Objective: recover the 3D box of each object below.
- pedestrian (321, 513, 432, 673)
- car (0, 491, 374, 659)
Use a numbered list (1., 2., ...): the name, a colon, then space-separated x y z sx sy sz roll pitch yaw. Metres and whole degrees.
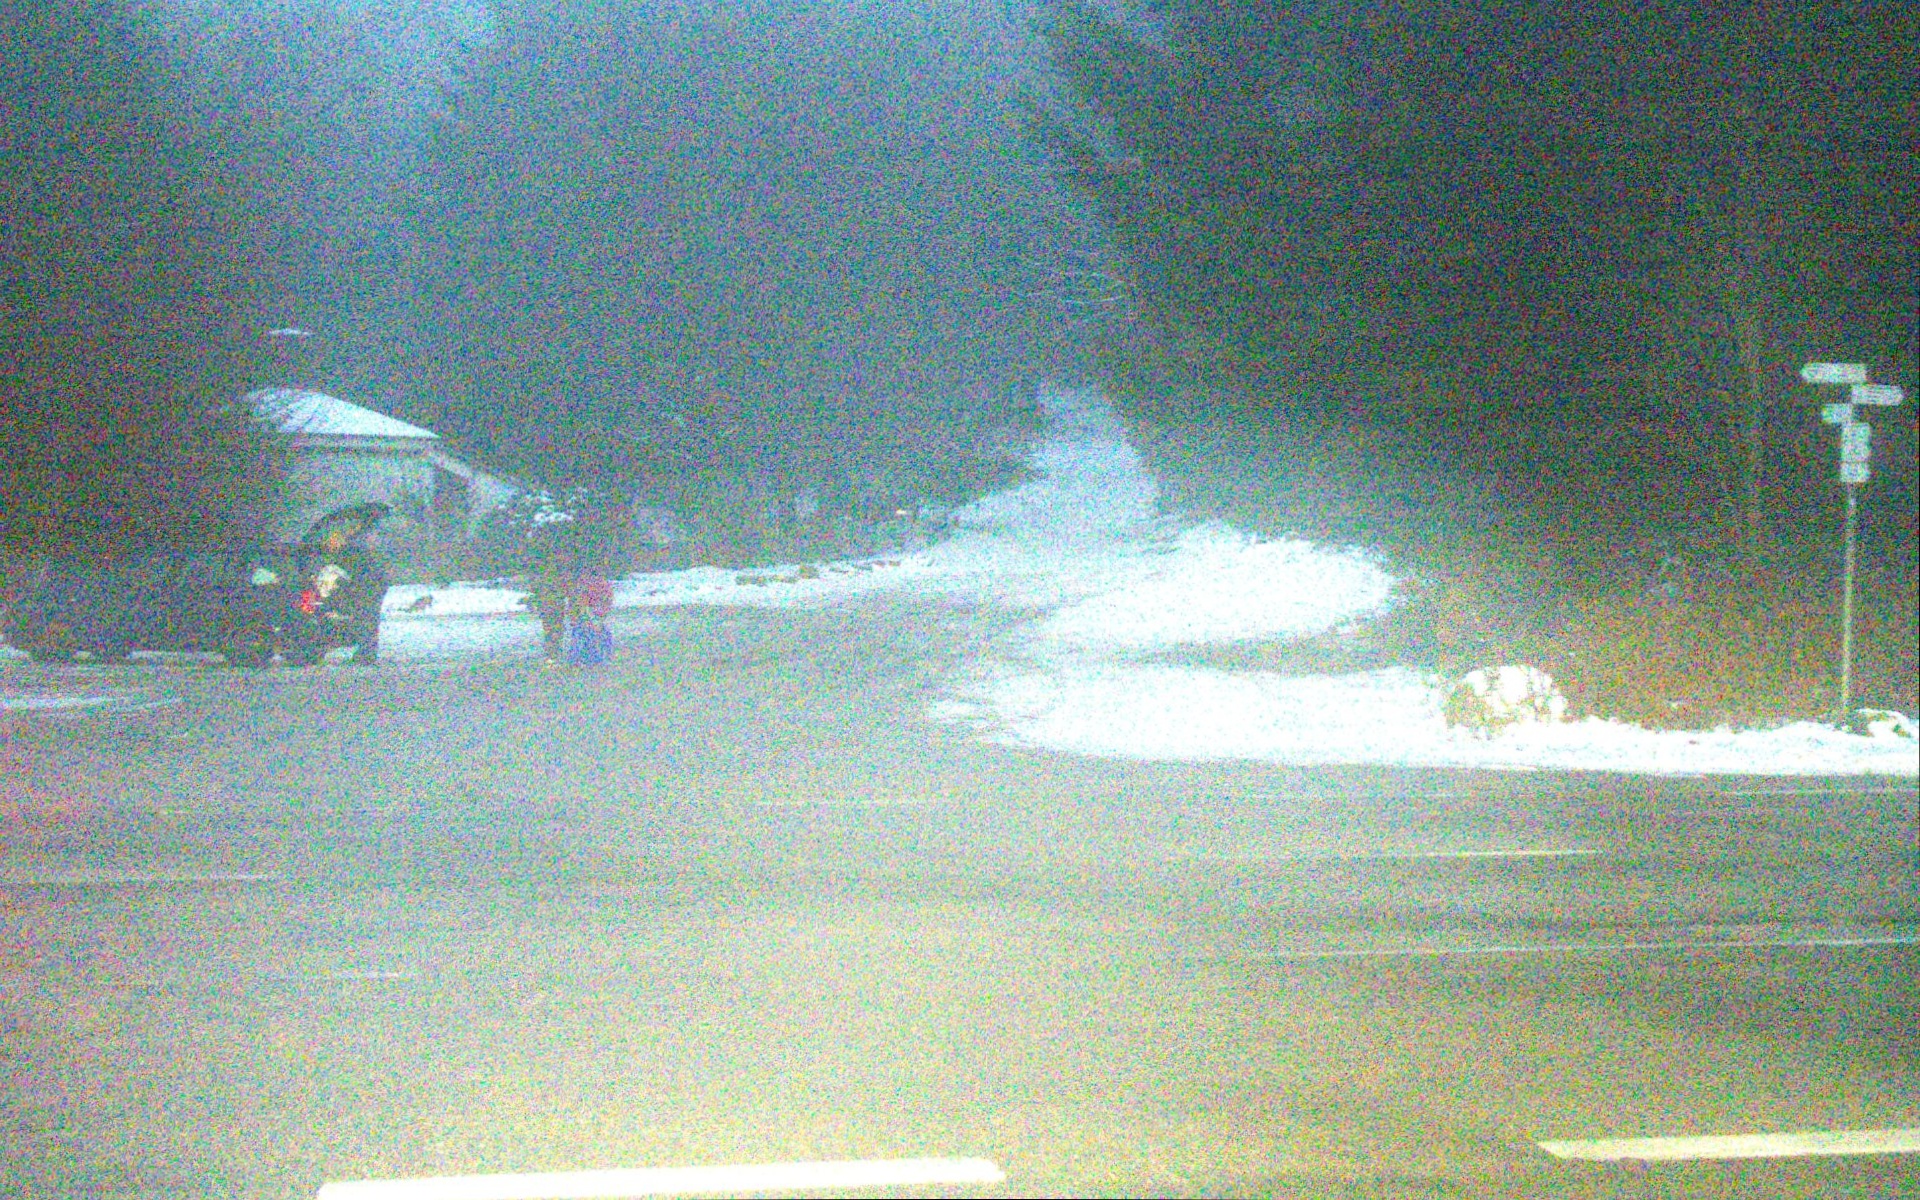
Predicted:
1. pedestrian: -6.775 -0.084 39.952 0.961 1.821 0.924 1 0 13
2. car: -9.171 -0.290 40.661 3.948 1.875 1.999 1 0 9
